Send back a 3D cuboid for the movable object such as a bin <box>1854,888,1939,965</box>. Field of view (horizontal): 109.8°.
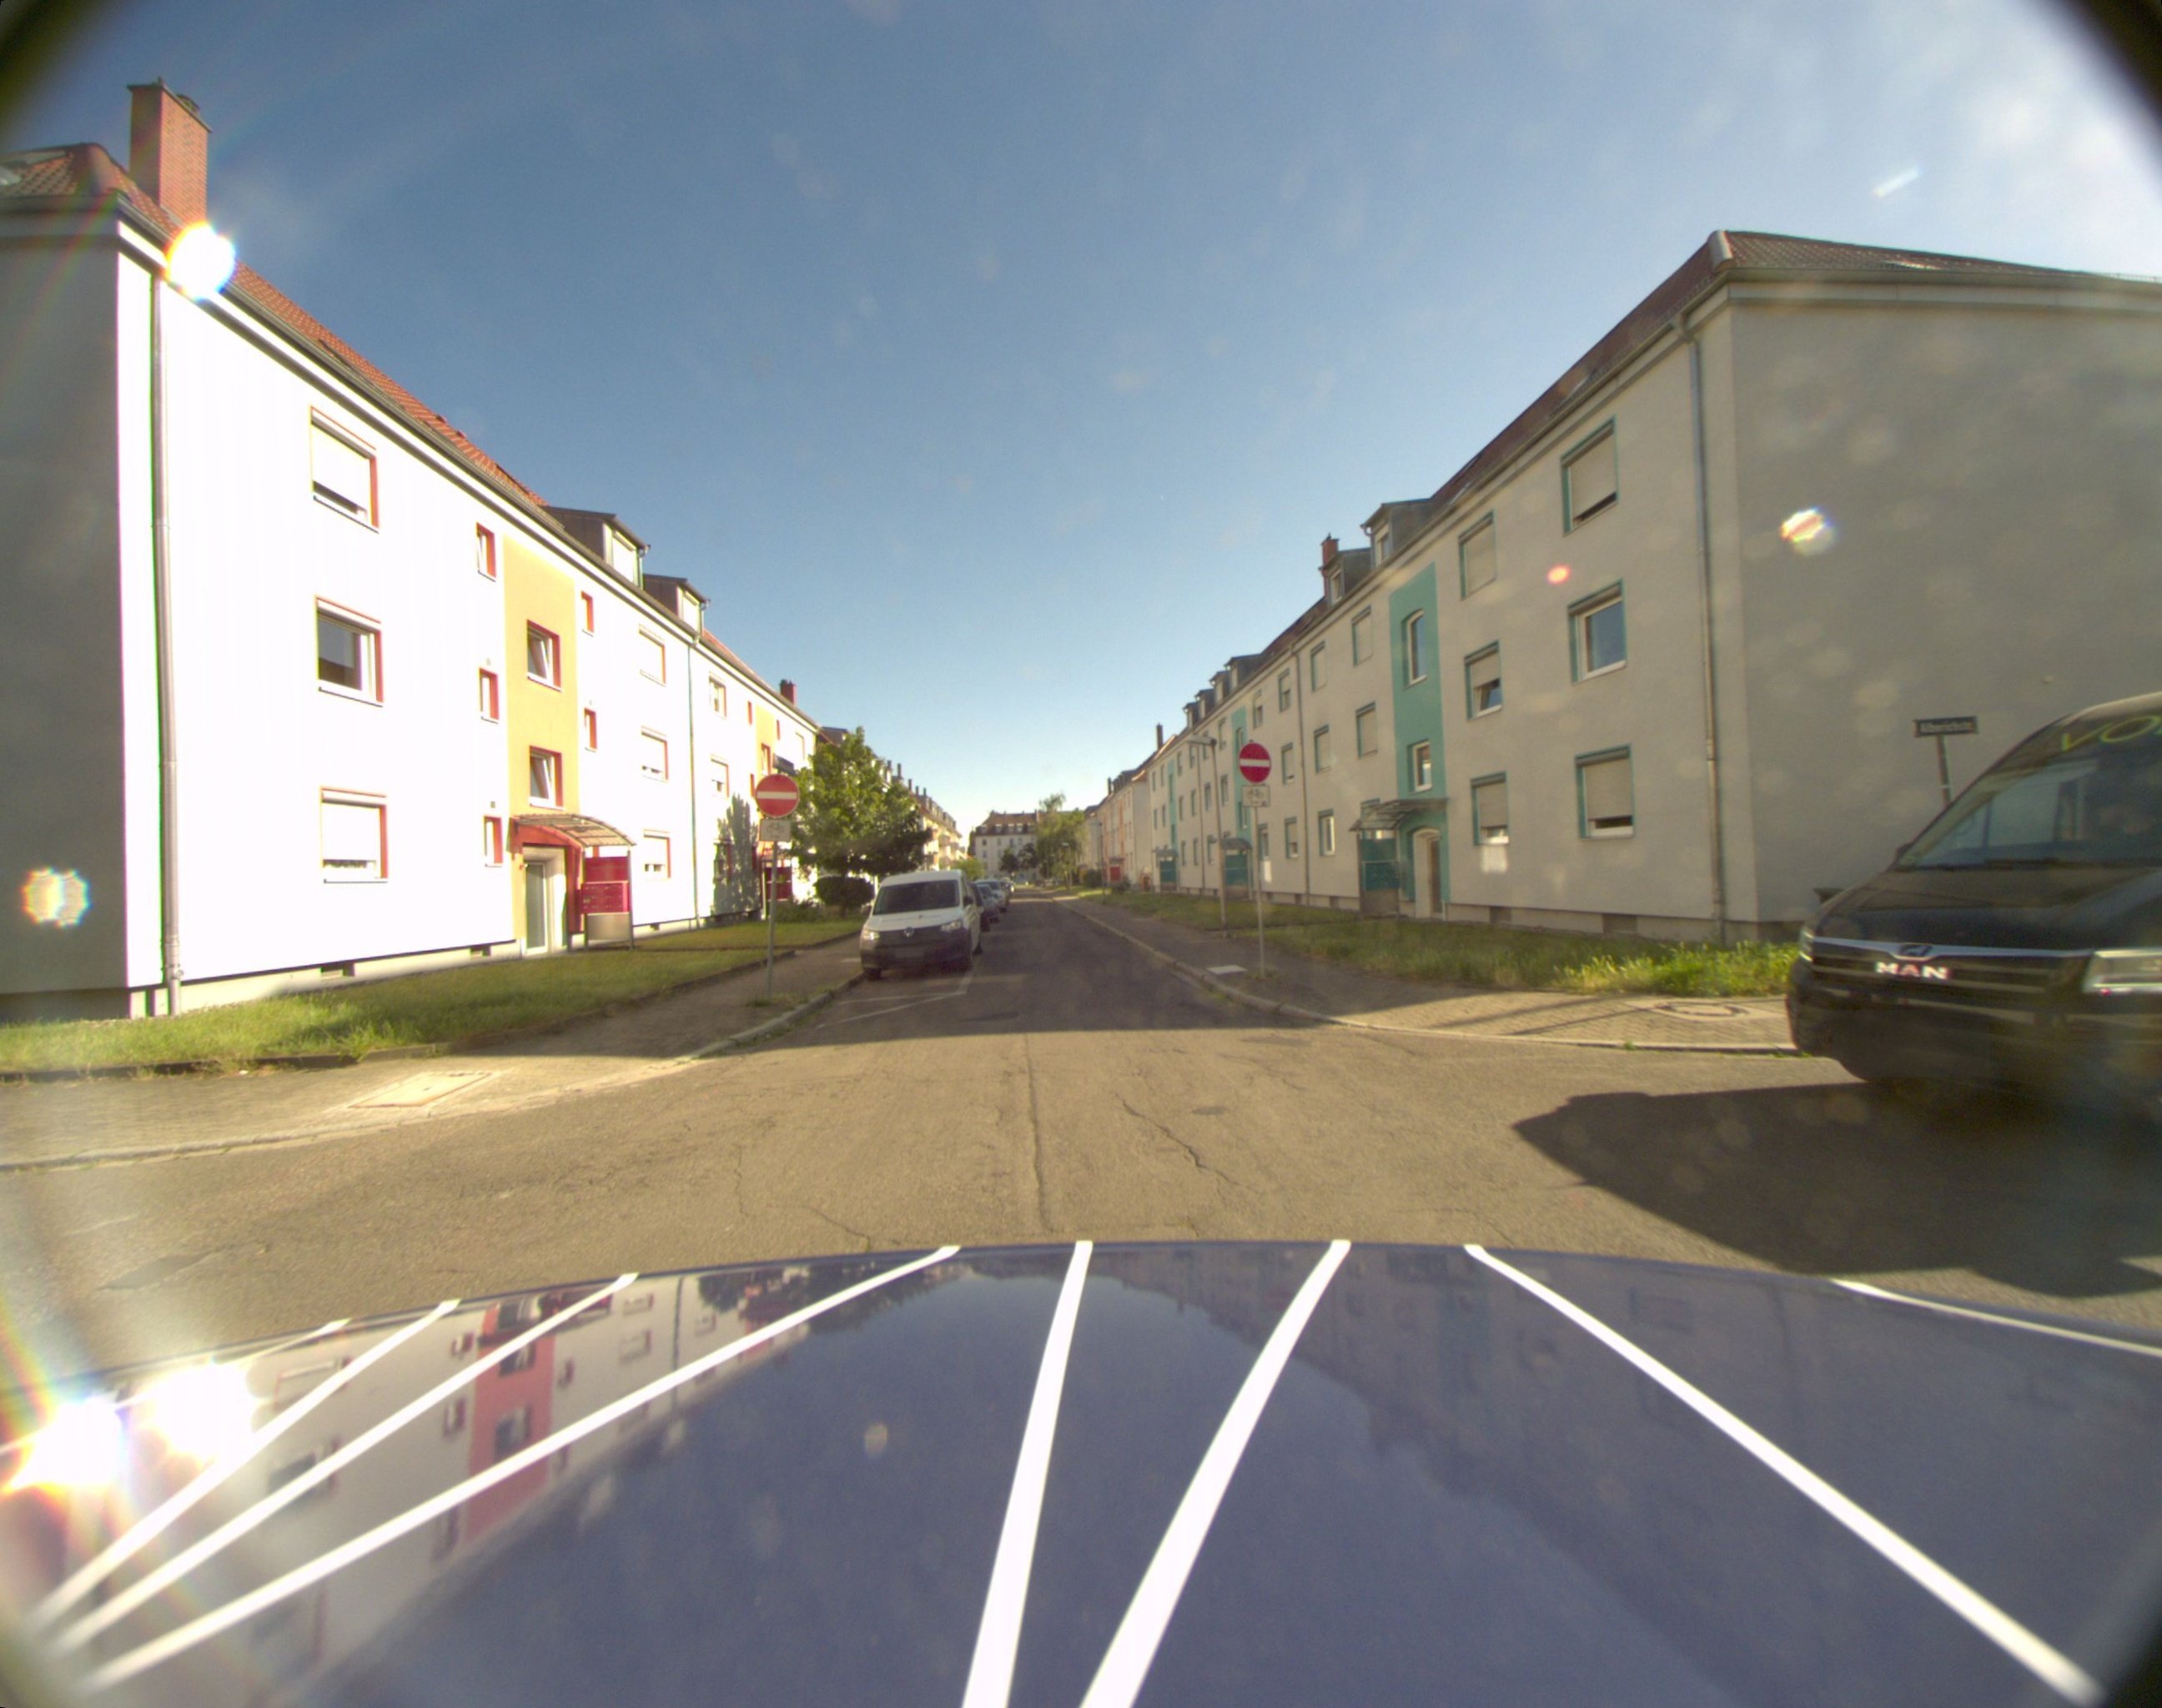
[{"bbox_3d":[10.548,0.924,9.845,0.499,0.943,0.532,-1,-1,-5],"label":"movable object such as a bin"}]

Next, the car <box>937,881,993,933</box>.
[{"bbox_3d":[-3.750,1.654,24.579,1.622,1.541,3.609,1,-2,-9],"label":"car"}]

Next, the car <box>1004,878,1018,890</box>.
[{"bbox_3d":[-9.652,4.112,104.579,1.709,1.561,4.734,-2,-1,-4],"label":"car"}]

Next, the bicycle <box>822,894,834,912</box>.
[{"bbox_3d":[-14.580,2.826,43.870,0.320,0.940,1.283,0,-1,-2],"label":"bicycle"}]

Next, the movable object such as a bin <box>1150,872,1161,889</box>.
[{"bbox_3d":[6.377,2.283,65.142,0.753,1.384,0.763,-2,-1,-5],"label":"movable object such as a bin"}]

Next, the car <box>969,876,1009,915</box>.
[{"bbox_3d":[-4.604,2.014,38.083,1.781,1.709,4.306,-4,-1,-7],"label":"car"}]

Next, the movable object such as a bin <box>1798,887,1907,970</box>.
[{"bbox_3d":[9.833,0.931,9.712,0.614,0.986,0.714,-2,-1,-6],"label":"movable object such as a bin"}]

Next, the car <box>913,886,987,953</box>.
[{"bbox_3d":[-3.319,1.613,19.790,1.577,1.408,3.787,-4,-1,-6],"label":"car"}]

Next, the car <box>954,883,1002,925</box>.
[{"bbox_3d":[-3.857,1.868,28.974,1.633,1.441,3.951,-2,-2,-6],"label":"car"}]

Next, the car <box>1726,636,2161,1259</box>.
[{"bbox_3d":[7.286,0.302,4.144,5.958,2.529,2.000,-2,-1,-4],"label":"car"}]

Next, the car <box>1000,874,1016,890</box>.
[{"bbox_3d":[-9.444,3.606,98.875,1.954,1.889,4.763,-2,-1,-4],"label":"car"}]

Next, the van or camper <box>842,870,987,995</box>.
[{"bbox_3d":[-2.883,1.281,14.227,1.797,1.737,4.734,-7,-1,-4],"label":"van or camper"}]

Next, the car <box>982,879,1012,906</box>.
[{"bbox_3d":[-5.307,2.414,48.673,1.732,1.596,4.423,-2,-2,-5],"label":"car"}]

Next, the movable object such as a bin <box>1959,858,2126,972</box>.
[{"bbox_3d":[12.560,0.775,9.961,1.065,1.392,0.847,-2,-1,-2],"label":"movable object such as a bin"}]

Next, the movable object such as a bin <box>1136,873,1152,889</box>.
[{"bbox_3d":[5.377,2.322,65.042,1.167,1.384,0.877,-2,-1,-5],"label":"movable object such as a bin"}]
